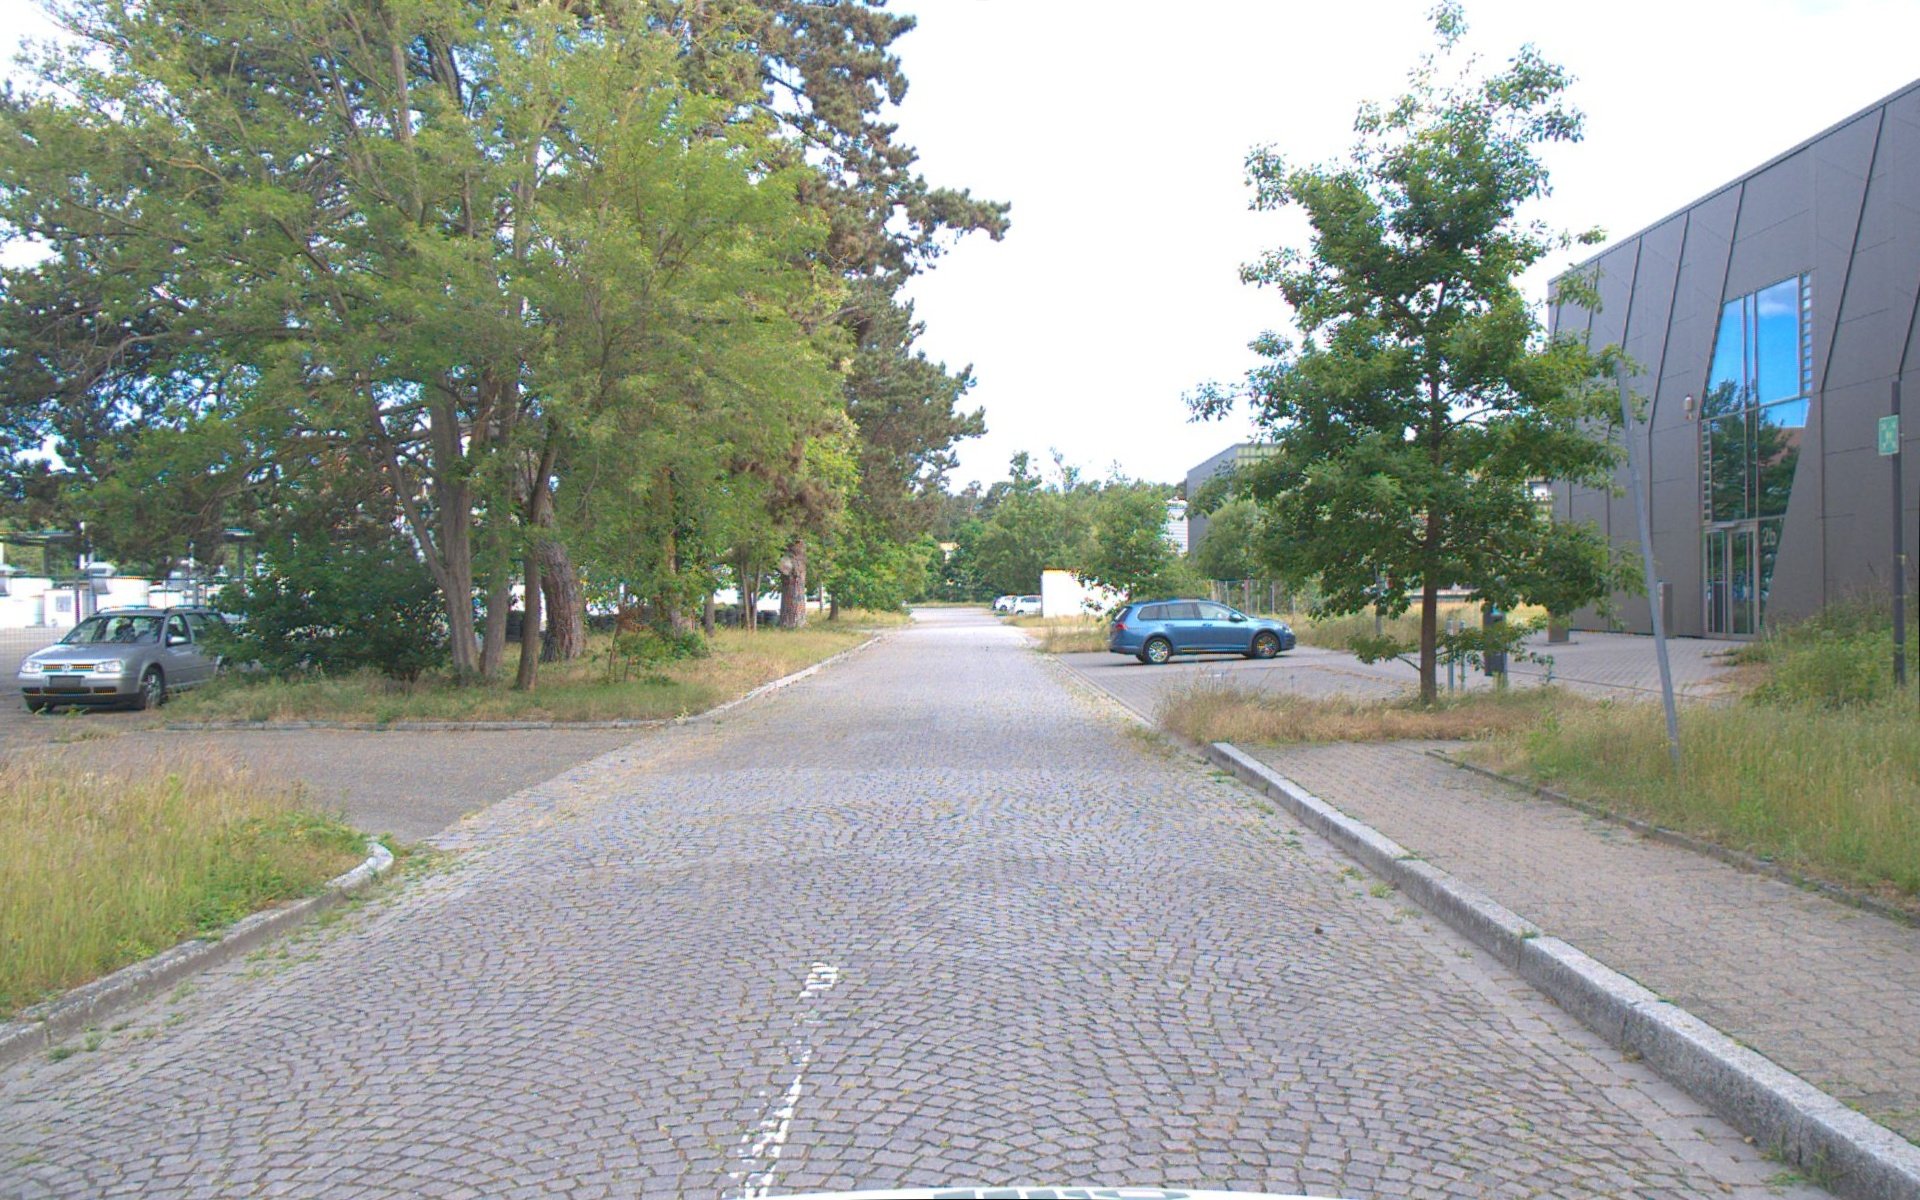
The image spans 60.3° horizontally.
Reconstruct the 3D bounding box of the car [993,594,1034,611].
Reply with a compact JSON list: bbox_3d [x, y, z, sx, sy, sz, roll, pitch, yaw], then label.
[{"bbox_3d":[5.167,0.258,159.424,3.942,1.528,1.548,-1,0,1],"label":"car"}]

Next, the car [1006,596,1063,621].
[{"bbox_3d":[5.083,0.579,113.272,3.772,1.683,1.685,-1,0,-3],"label":"car"}]

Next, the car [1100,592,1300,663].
[{"bbox_3d":[5.710,0.641,39.729,4.432,1.468,1.822,-3,0,-4],"label":"car"}]

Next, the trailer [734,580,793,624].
[{"bbox_3d":[-14.882,0.138,125.821,3.093,3.121,8.786,-1,0,2],"label":"trailer"}]

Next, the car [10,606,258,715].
[{"bbox_3d":[-12.387,0.845,25.137,1.681,1.463,4.465,-1,0,-3],"label":"car"}]
